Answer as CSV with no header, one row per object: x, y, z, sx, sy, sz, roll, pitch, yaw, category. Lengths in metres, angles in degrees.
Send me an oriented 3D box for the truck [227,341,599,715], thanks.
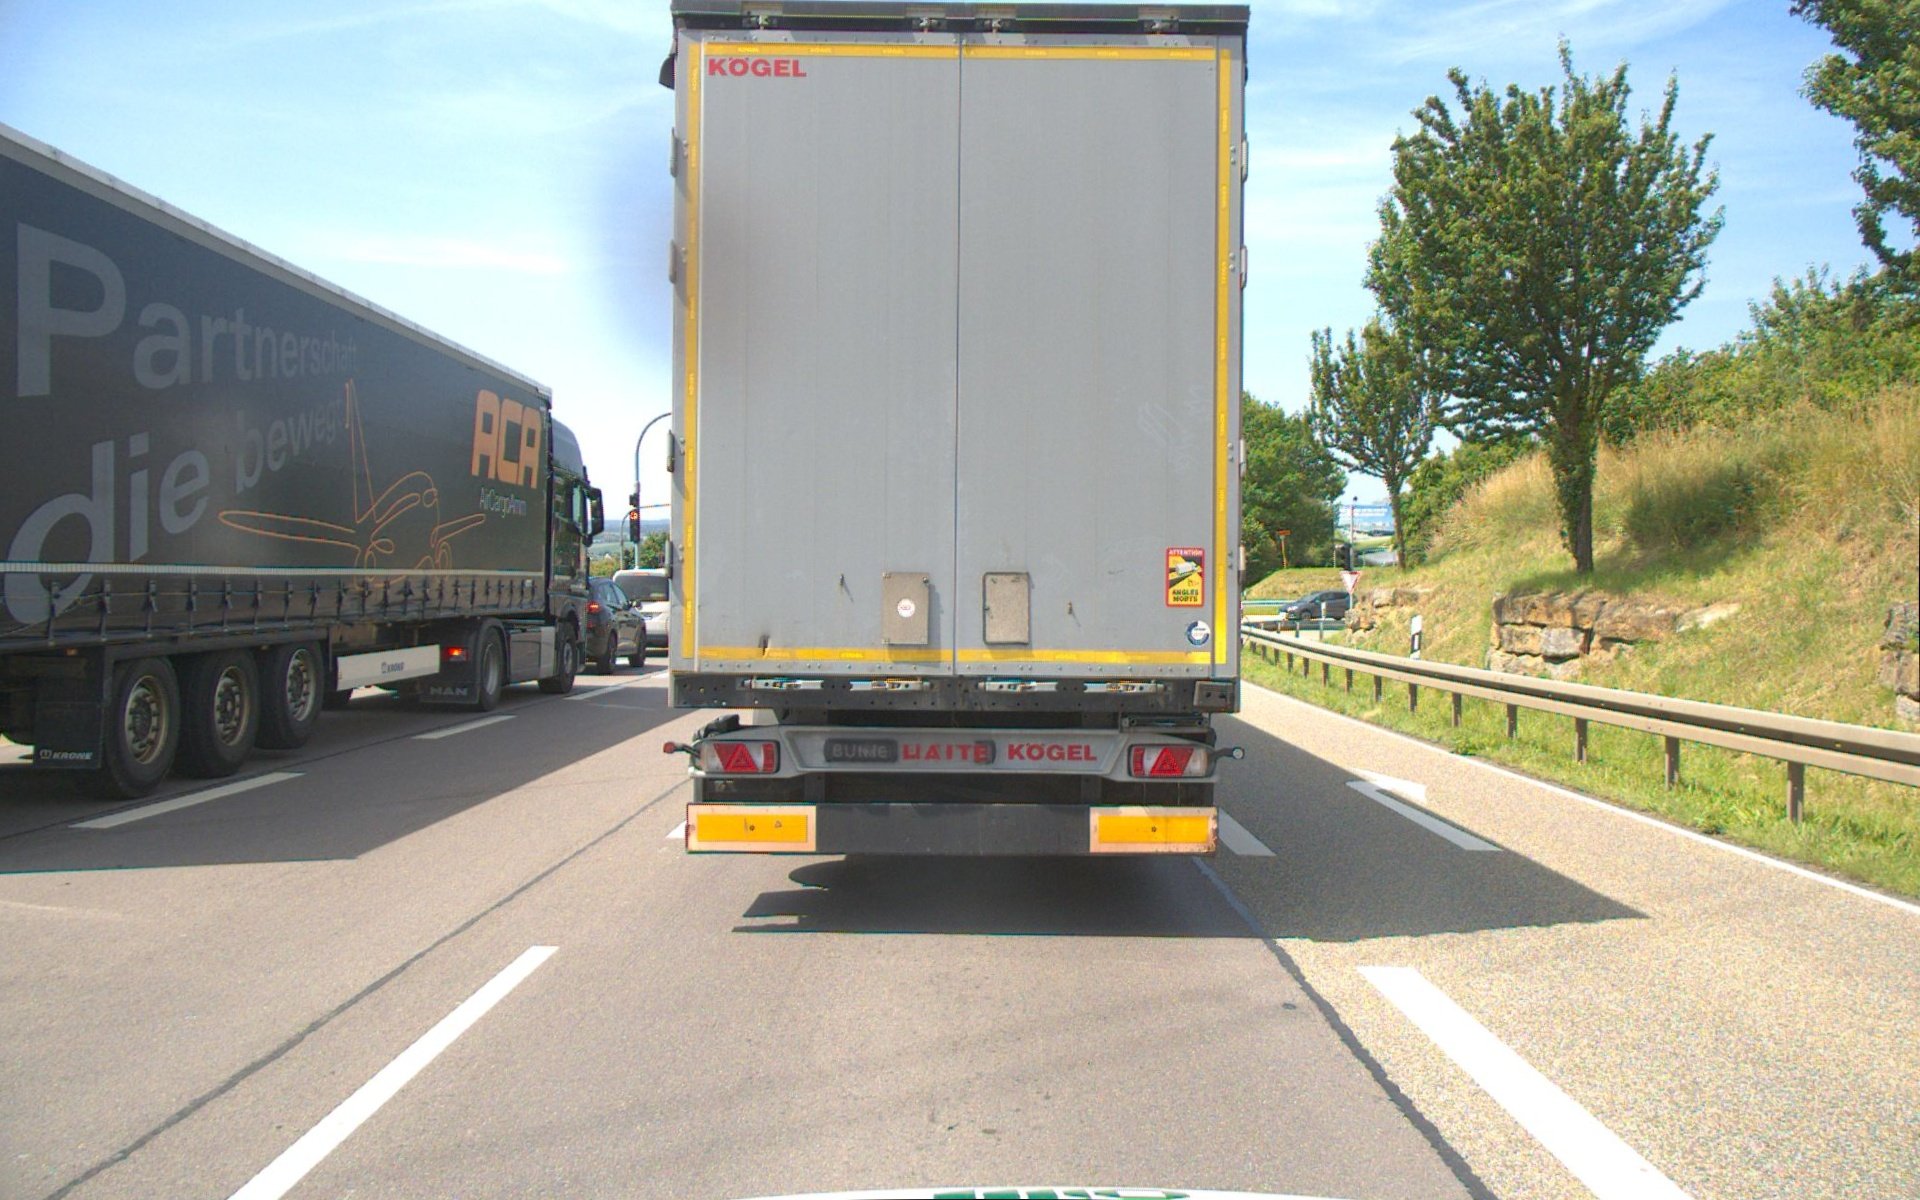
-6.700,-0.805,21.275,2.726,4.083,5.970,1,0,0,truck

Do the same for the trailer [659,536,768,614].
-13.297,-1.197,91.474,2.584,3.829,19.802,0,0,1,trailer

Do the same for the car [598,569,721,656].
-6.735,0.251,37.546,1.731,1.830,4.753,1,0,2,car

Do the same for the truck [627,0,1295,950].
-0.067,-0.532,12.608,2.742,3.998,11.339,1,0,-1,truck

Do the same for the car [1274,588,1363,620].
17.549,0.204,81.036,3.912,1.537,1.713,0,0,-8,car

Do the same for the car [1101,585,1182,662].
4.188,0.538,38.510,1.758,1.669,4.002,1,0,5,car

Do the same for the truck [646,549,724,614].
-13.562,-0.856,81.935,2.741,3.066,5.990,0,0,1,truck

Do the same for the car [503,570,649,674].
-6.756,0.355,29.554,1.819,1.686,4.345,1,0,-4,car

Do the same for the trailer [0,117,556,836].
-6.693,-0.714,14.795,2.726,3.982,13.786,1,0,0,trailer
